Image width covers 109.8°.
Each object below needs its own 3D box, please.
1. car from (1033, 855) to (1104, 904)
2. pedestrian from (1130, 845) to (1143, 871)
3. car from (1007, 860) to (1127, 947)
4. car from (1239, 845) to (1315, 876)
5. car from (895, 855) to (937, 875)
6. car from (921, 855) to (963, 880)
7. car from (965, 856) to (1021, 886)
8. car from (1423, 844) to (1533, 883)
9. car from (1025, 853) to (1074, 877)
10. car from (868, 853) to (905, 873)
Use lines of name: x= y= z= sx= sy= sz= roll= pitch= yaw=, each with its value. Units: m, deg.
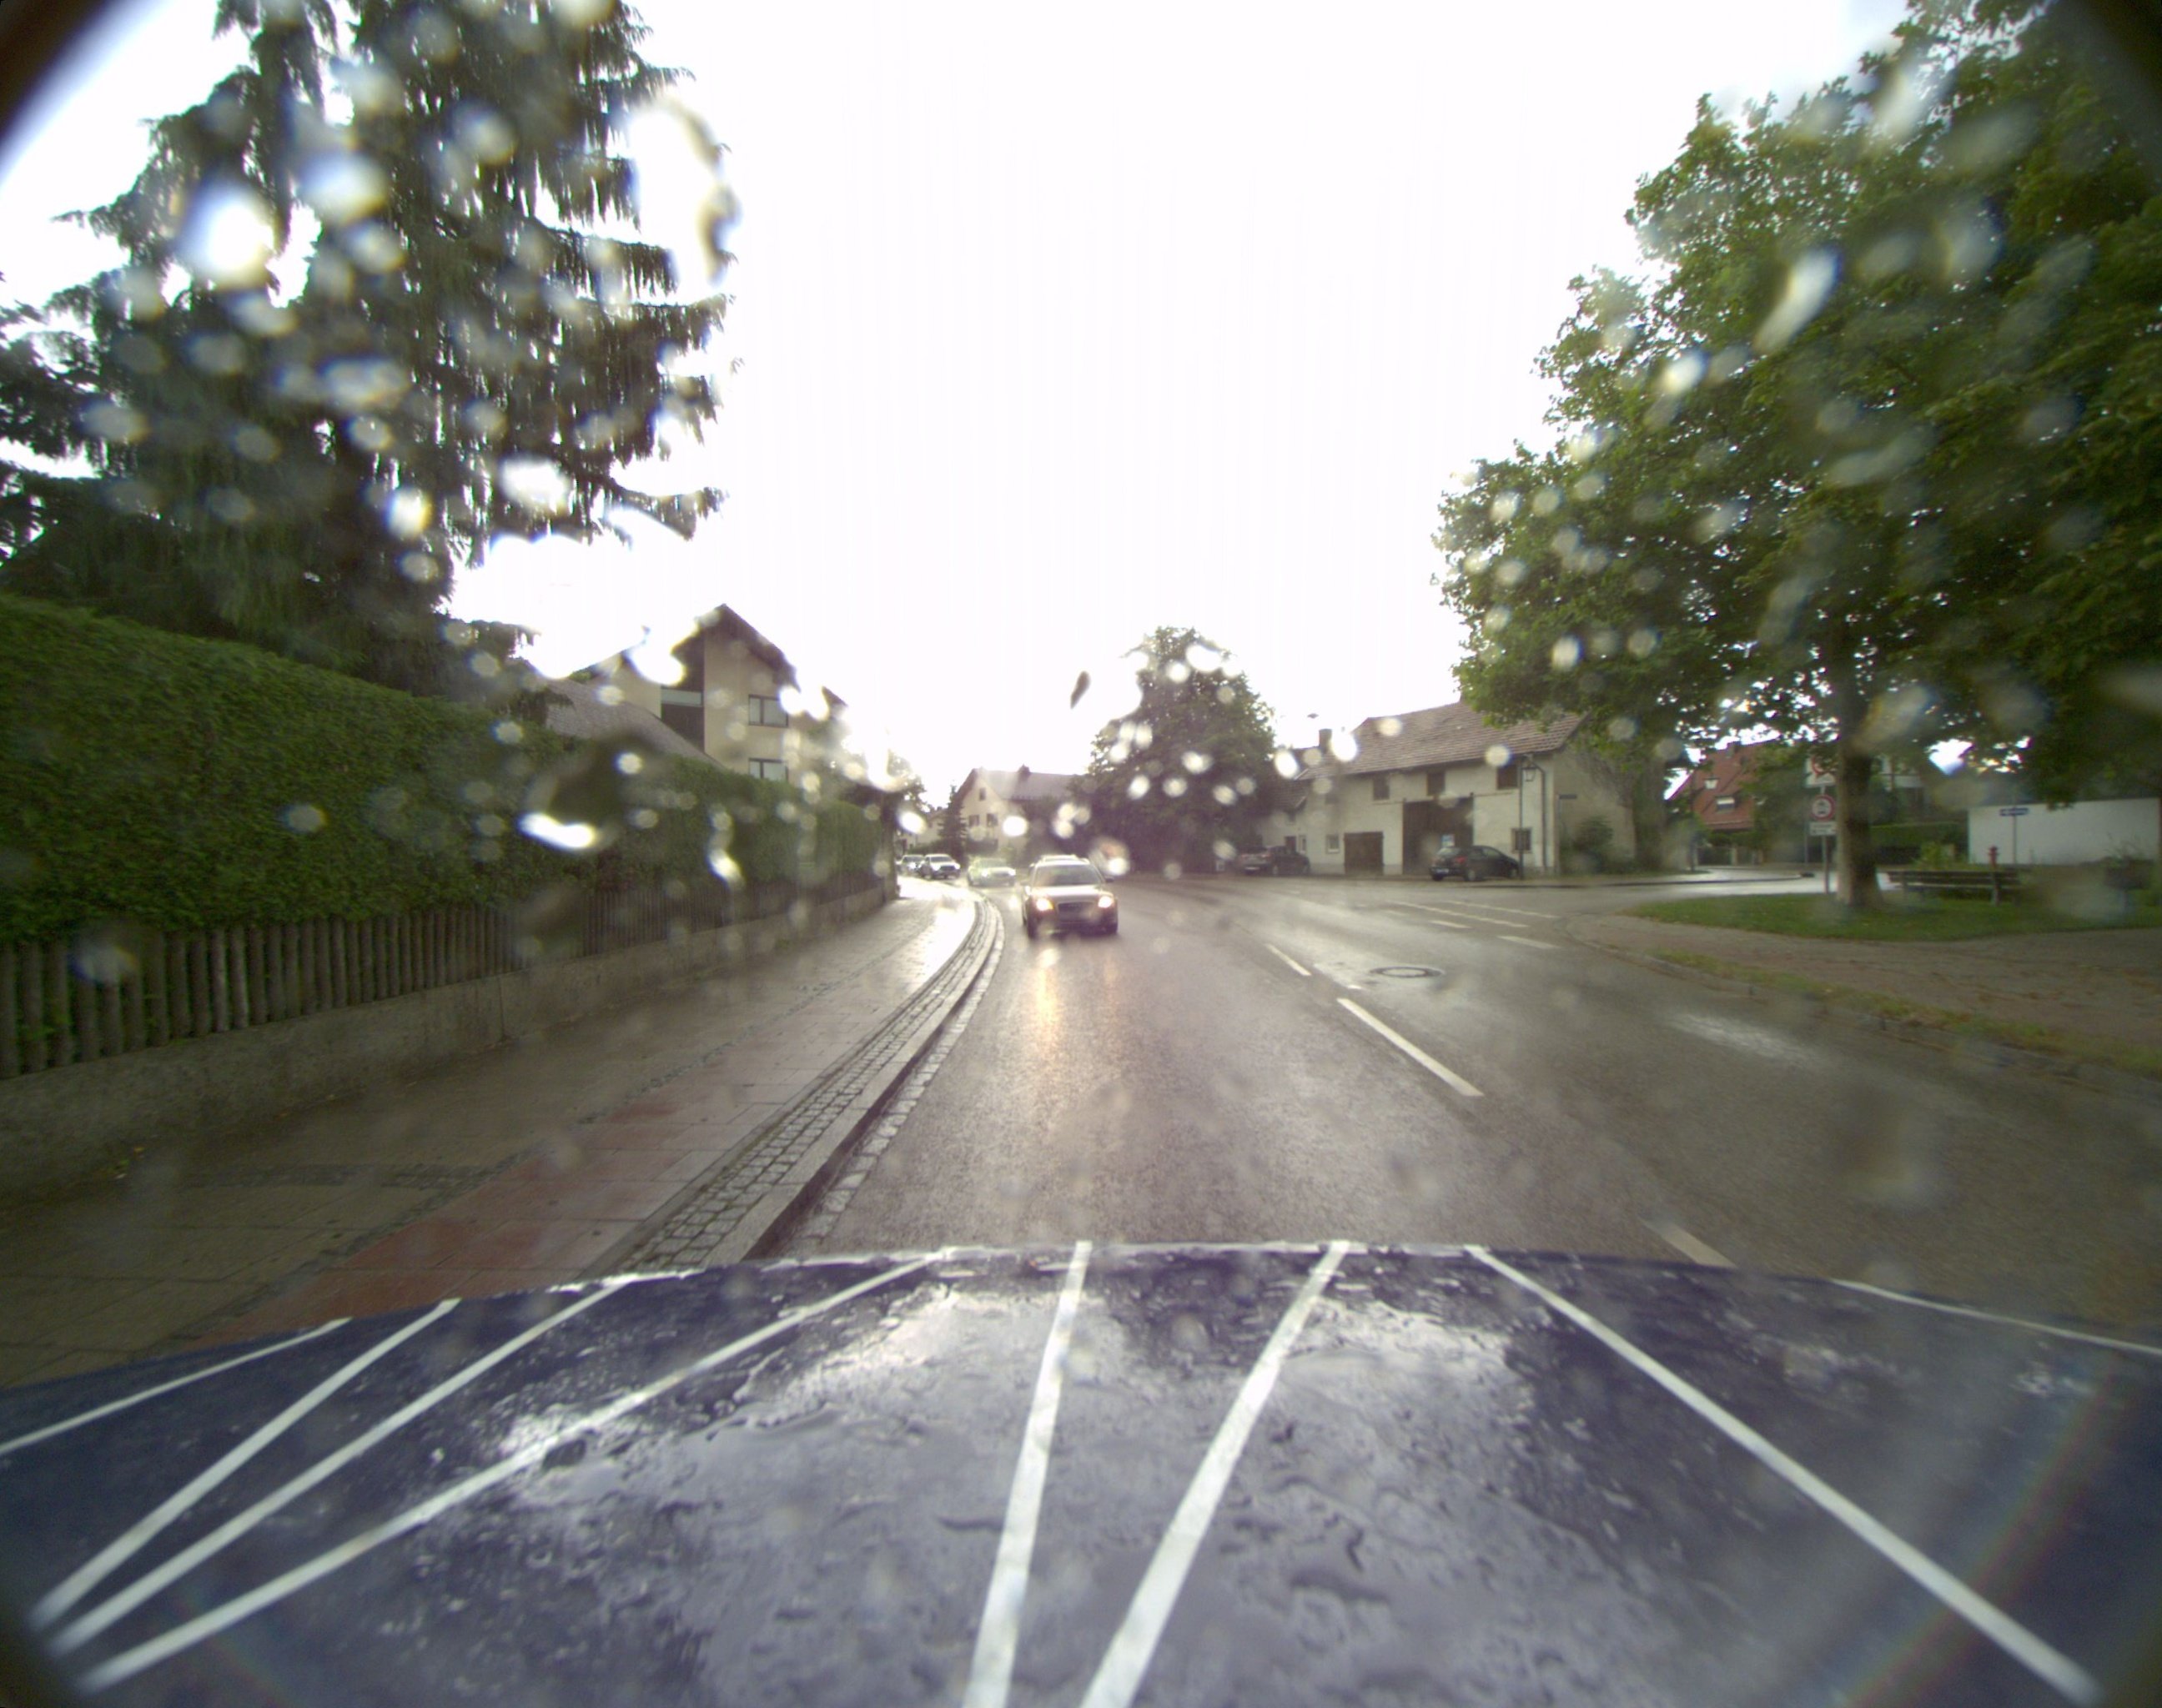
car: x=-0.568 y=0.832 z=27.748 sx=1.795 sy=1.471 sz=5.380 roll=-3 pitch=1 yaw=-9
pedestrian: x=3.536 y=0.248 z=48.245 sx=0.652 sy=1.619 sz=0.479 roll=-1 pitch=1 yaw=17
car: x=-0.442 y=0.910 z=15.905 sx=1.795 sy=1.387 sz=4.277 roll=-3 pitch=1 yaw=-10
car: x=10.329 y=0.322 z=39.839 sx=4.290 sy=1.539 sz=1.812 roll=1 pitch=0 yaw=-42
car: x=-13.007 y=0.858 z=59.687 sx=1.798 sy=1.365 sz=4.270 roll=-3 pitch=1 yaw=-33
car: x=-9.559 y=0.869 z=52.009 sx=1.797 sy=1.539 sz=4.272 roll=-3 pitch=1 yaw=-24
car: x=-4.645 y=0.851 z=39.657 sx=1.797 sy=1.387 sz=4.273 roll=-3 pitch=1 yaw=-21
car: x=16.038 y=0.356 z=30.665 sx=4.287 sy=1.428 sz=1.817 roll=-2 pitch=1 yaw=-28
car: x=-2.090 y=0.699 z=49.498 sx=1.724 sy=1.434 sz=3.992 roll=-3 pitch=1 yaw=-24
car: x=-16.876 y=0.776 z=65.719 sx=1.798 sy=1.539 sz=4.270 roll=-3 pitch=1 yaw=-33
